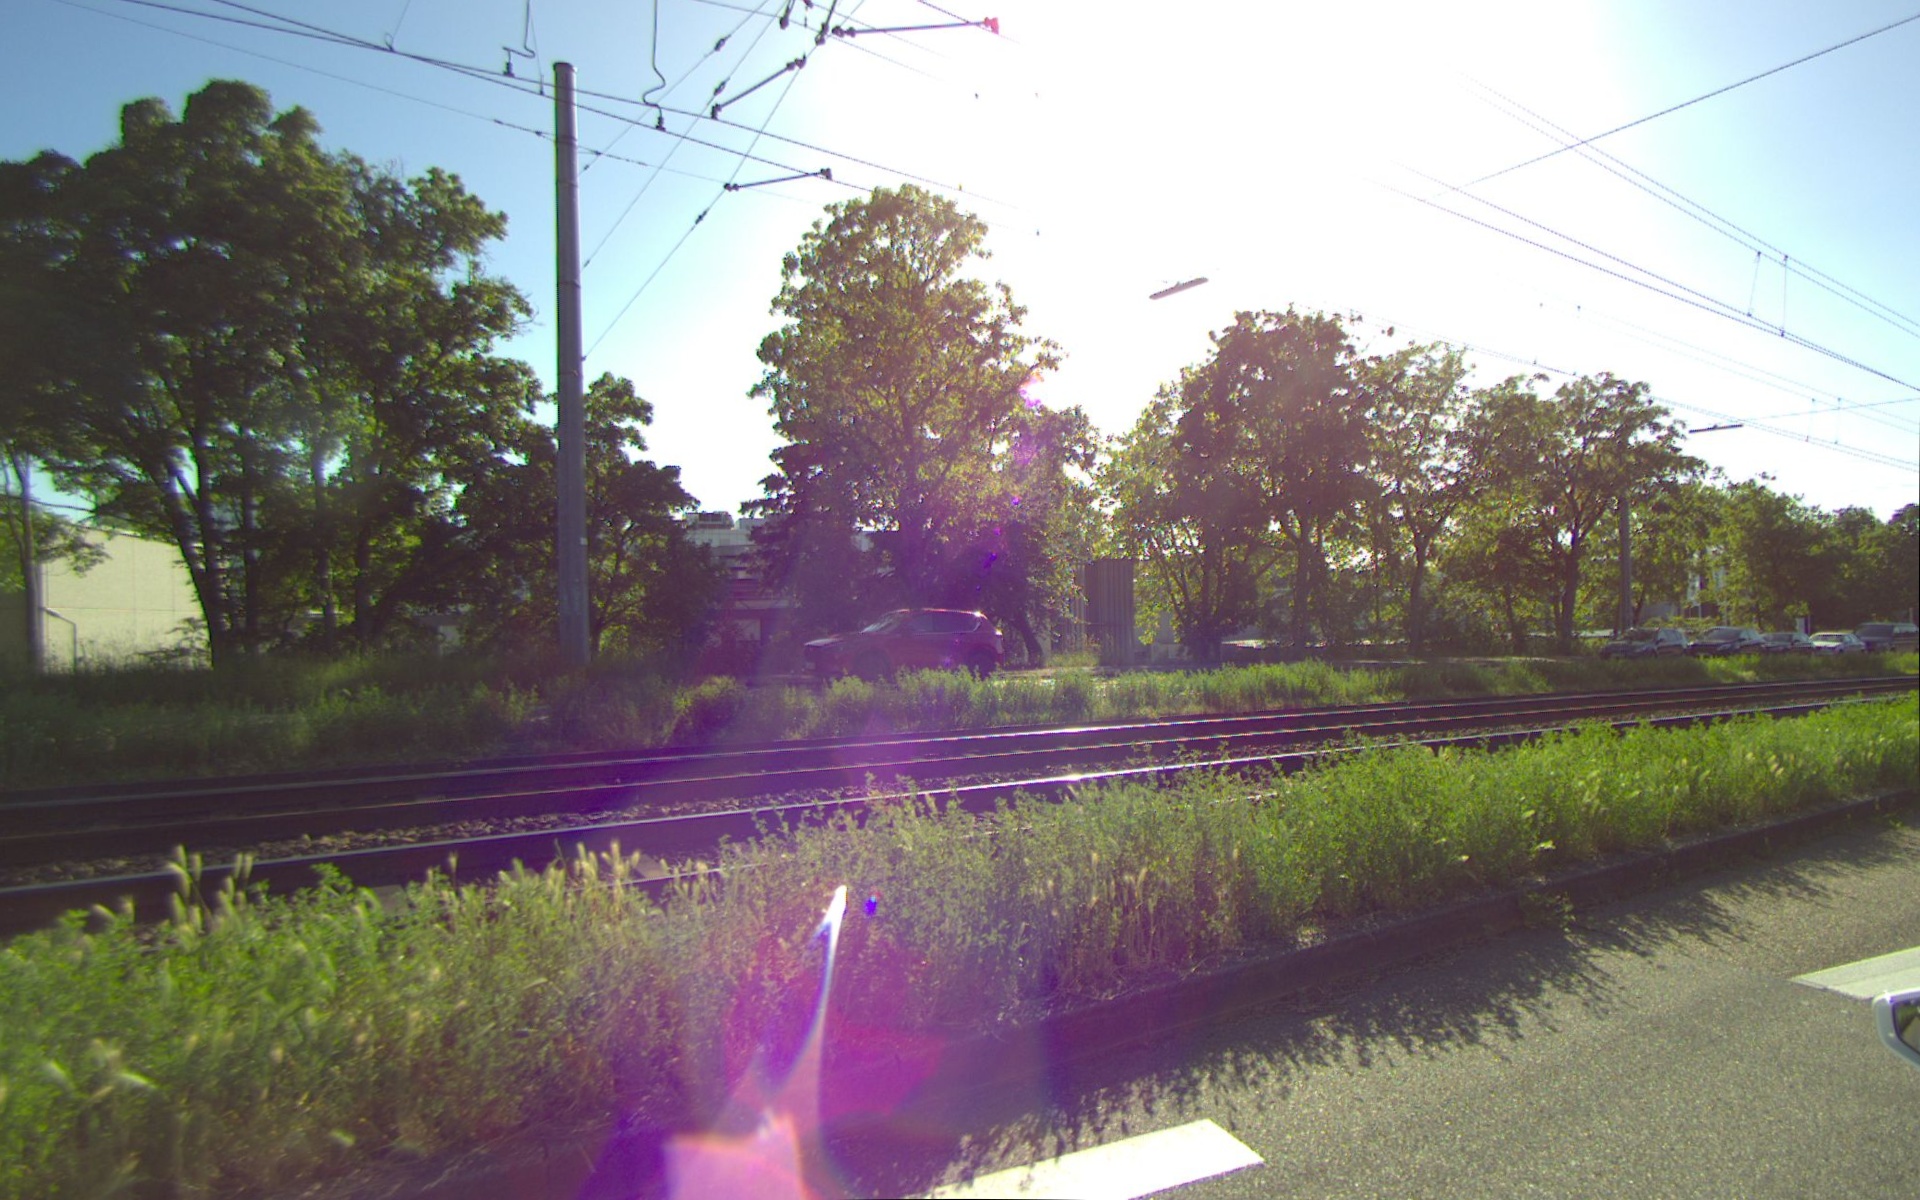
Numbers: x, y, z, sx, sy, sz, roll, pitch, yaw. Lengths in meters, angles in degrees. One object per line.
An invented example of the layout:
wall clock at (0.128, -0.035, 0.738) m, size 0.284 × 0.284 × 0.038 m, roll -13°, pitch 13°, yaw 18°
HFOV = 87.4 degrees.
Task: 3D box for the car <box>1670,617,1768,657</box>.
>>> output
car at (32.605, 1.544, 43.141) m, size 4.386 × 1.595 × 1.982 m, roll 0°, pitch -1°, yaw -33°

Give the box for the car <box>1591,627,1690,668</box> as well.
car at (26.818, 1.834, 39.551) m, size 4.281 × 1.514 × 1.725 m, roll 1°, pitch 0°, yaw -33°

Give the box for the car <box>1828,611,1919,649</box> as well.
car at (47.950, 1.515, 52.701) m, size 4.732 × 1.916 × 2.187 m, roll 0°, pitch -1°, yaw -29°

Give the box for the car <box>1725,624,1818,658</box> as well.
car at (37.274, 1.838, 46.111) m, size 4.363 × 1.457 × 1.984 m, roll 0°, pitch -1°, yaw -31°

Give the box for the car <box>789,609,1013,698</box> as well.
car at (-1.222, 1.068, 21.524) m, size 4.418 × 1.725 × 1.993 m, roll 1°, pitch -1°, yaw -33°

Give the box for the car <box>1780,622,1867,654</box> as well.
car at (42.539, 1.830, 49.479) m, size 4.640 × 1.457 × 1.919 m, roll 0°, pitch -1°, yaw -31°
